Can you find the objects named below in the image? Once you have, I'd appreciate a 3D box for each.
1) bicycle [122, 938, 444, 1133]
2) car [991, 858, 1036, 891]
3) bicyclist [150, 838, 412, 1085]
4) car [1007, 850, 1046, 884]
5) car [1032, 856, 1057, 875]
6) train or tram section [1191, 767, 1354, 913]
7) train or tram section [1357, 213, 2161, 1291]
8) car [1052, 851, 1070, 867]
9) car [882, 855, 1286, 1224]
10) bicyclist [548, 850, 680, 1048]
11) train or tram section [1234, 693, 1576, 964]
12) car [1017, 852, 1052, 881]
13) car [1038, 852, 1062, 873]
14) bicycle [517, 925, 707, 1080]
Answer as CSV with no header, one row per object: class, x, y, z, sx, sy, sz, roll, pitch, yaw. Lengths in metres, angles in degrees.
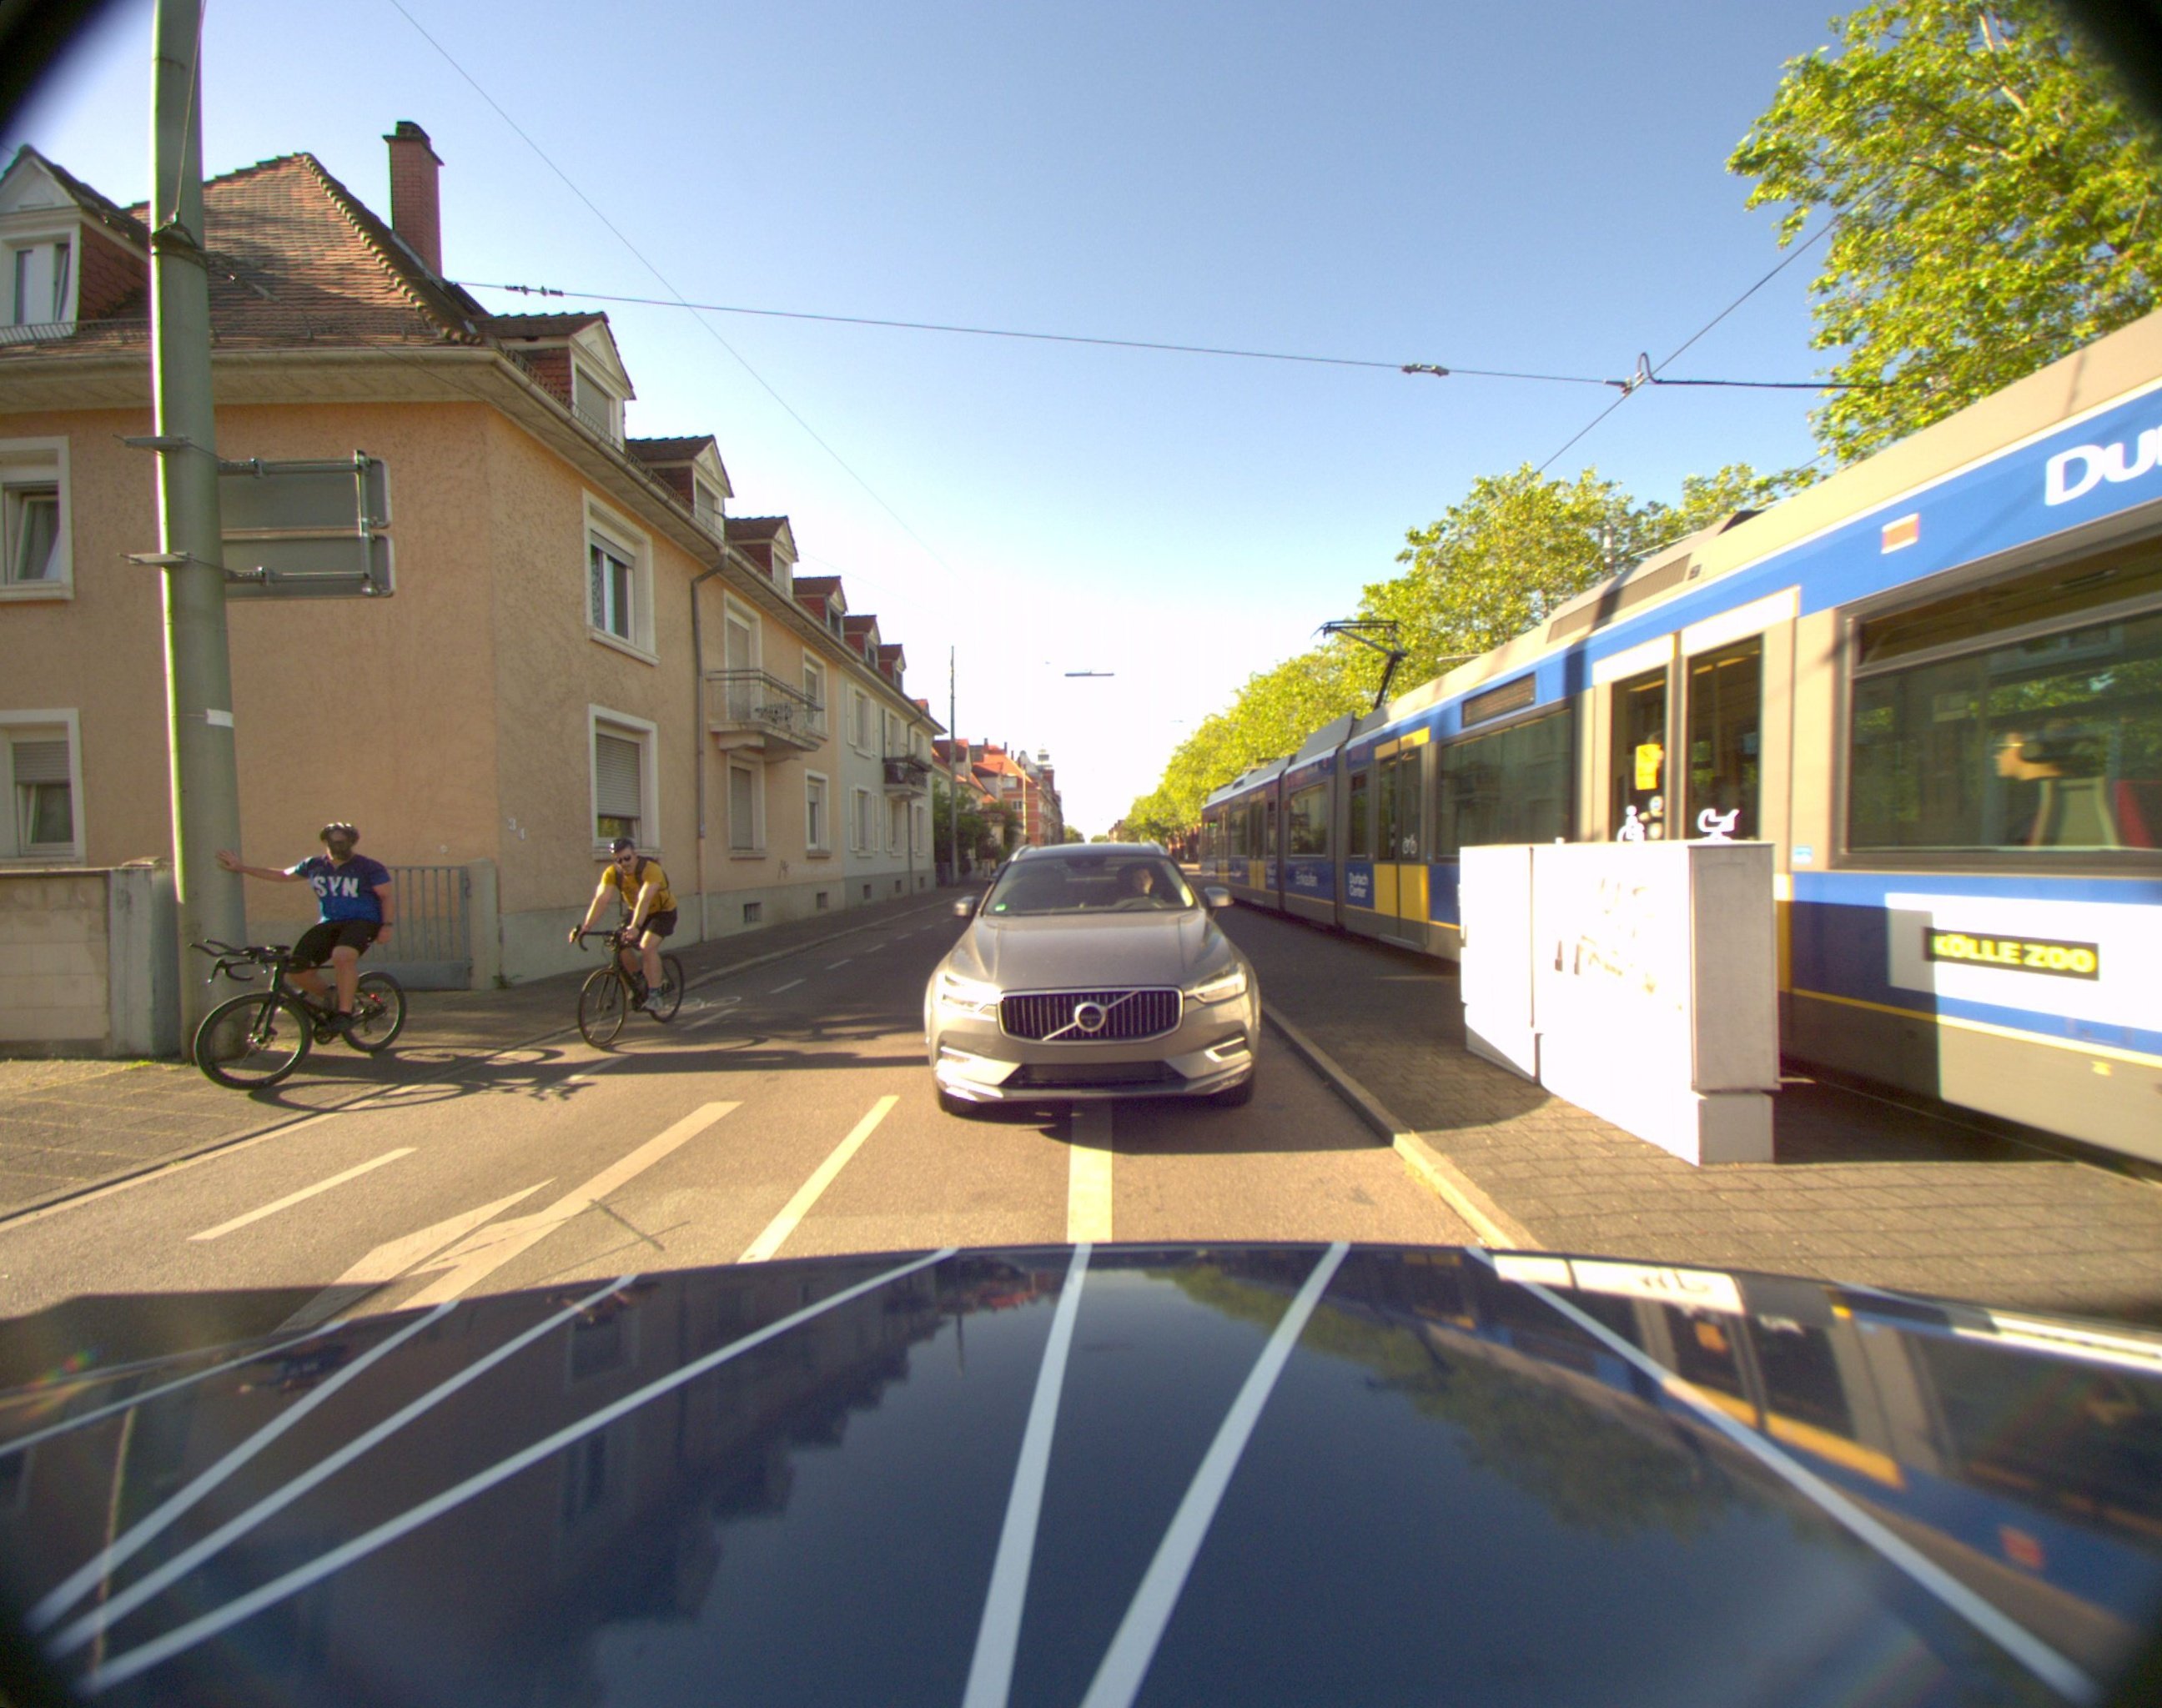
bicycle,-5.937,1.280,5.825,0.594,1.045,1.719,4,1,1
car,-3.235,0.948,36.974,1.847,1.412,3.999,-1,0,-1
bicyclist,-6.179,0.782,5.935,1.071,1.728,0.853,4,1,1
car,-2.970,0.688,42.207,1.847,1.742,4.144,-1,0,0
car,-2.885,0.862,60.403,1.808,1.402,3.999,-1,0,-1
train or tram section,5.200,-0.336,22.330,2.821,3.479,7.962,-1,0,1
train or tram section,4.915,-0.344,3.939,2.777,3.479,12.030,-1,0,1
car,-2.251,0.552,85.481,1.999,1.641,4.658,-1,0,-1
car,-0.003,0.889,5.785,1.892,1.695,4.318,-1,0,-1
bicyclist,-4.310,0.823,7.081,0.582,1.712,0.955,-1,1,1
train or tram section,5.076,-0.336,14.149,2.821,3.479,8.462,-1,0,1
car,-2.796,0.711,46.786,1.847,1.681,4.000,-1,0,0
car,-2.682,0.696,65.767,1.847,1.681,4.000,-1,0,0
bicycle,-4.283,1.298,7.123,0.611,1.081,1.809,-1,1,1
